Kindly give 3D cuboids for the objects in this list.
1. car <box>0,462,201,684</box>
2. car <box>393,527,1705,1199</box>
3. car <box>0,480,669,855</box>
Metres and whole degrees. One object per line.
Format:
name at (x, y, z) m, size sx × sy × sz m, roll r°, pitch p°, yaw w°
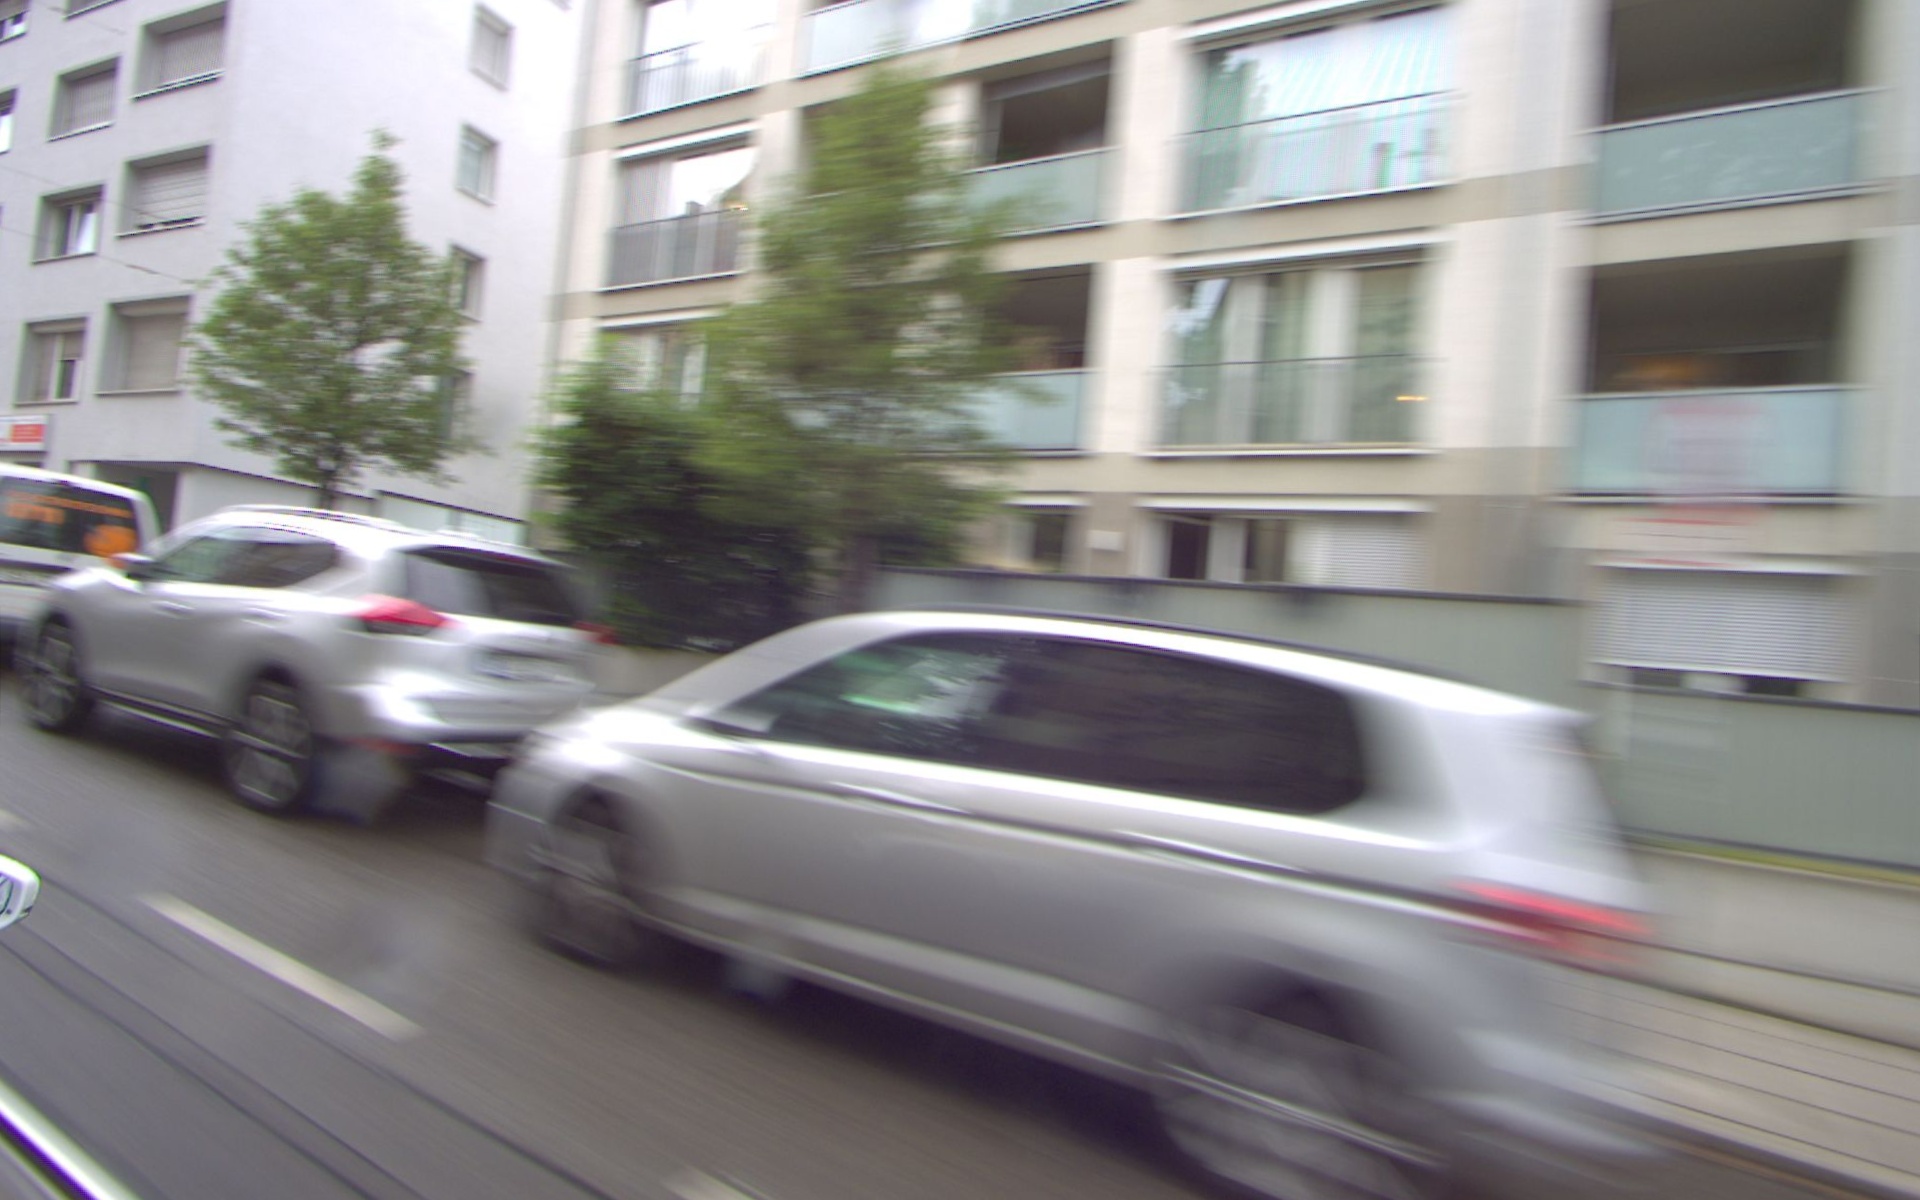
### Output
car at (-9.793, -0.418, 9.866) m, size 4.392 × 1.815 × 1.784 m, roll 7°, pitch -2°, yaw 26°
car at (0.037, 0.834, 4.251) m, size 4.581 × 1.646 × 1.838 m, roll 7°, pitch -2°, yaw 26°
car at (-4.496, 0.308, 6.963) m, size 4.605 × 1.675 × 1.838 m, roll 7°, pitch -2°, yaw 27°
